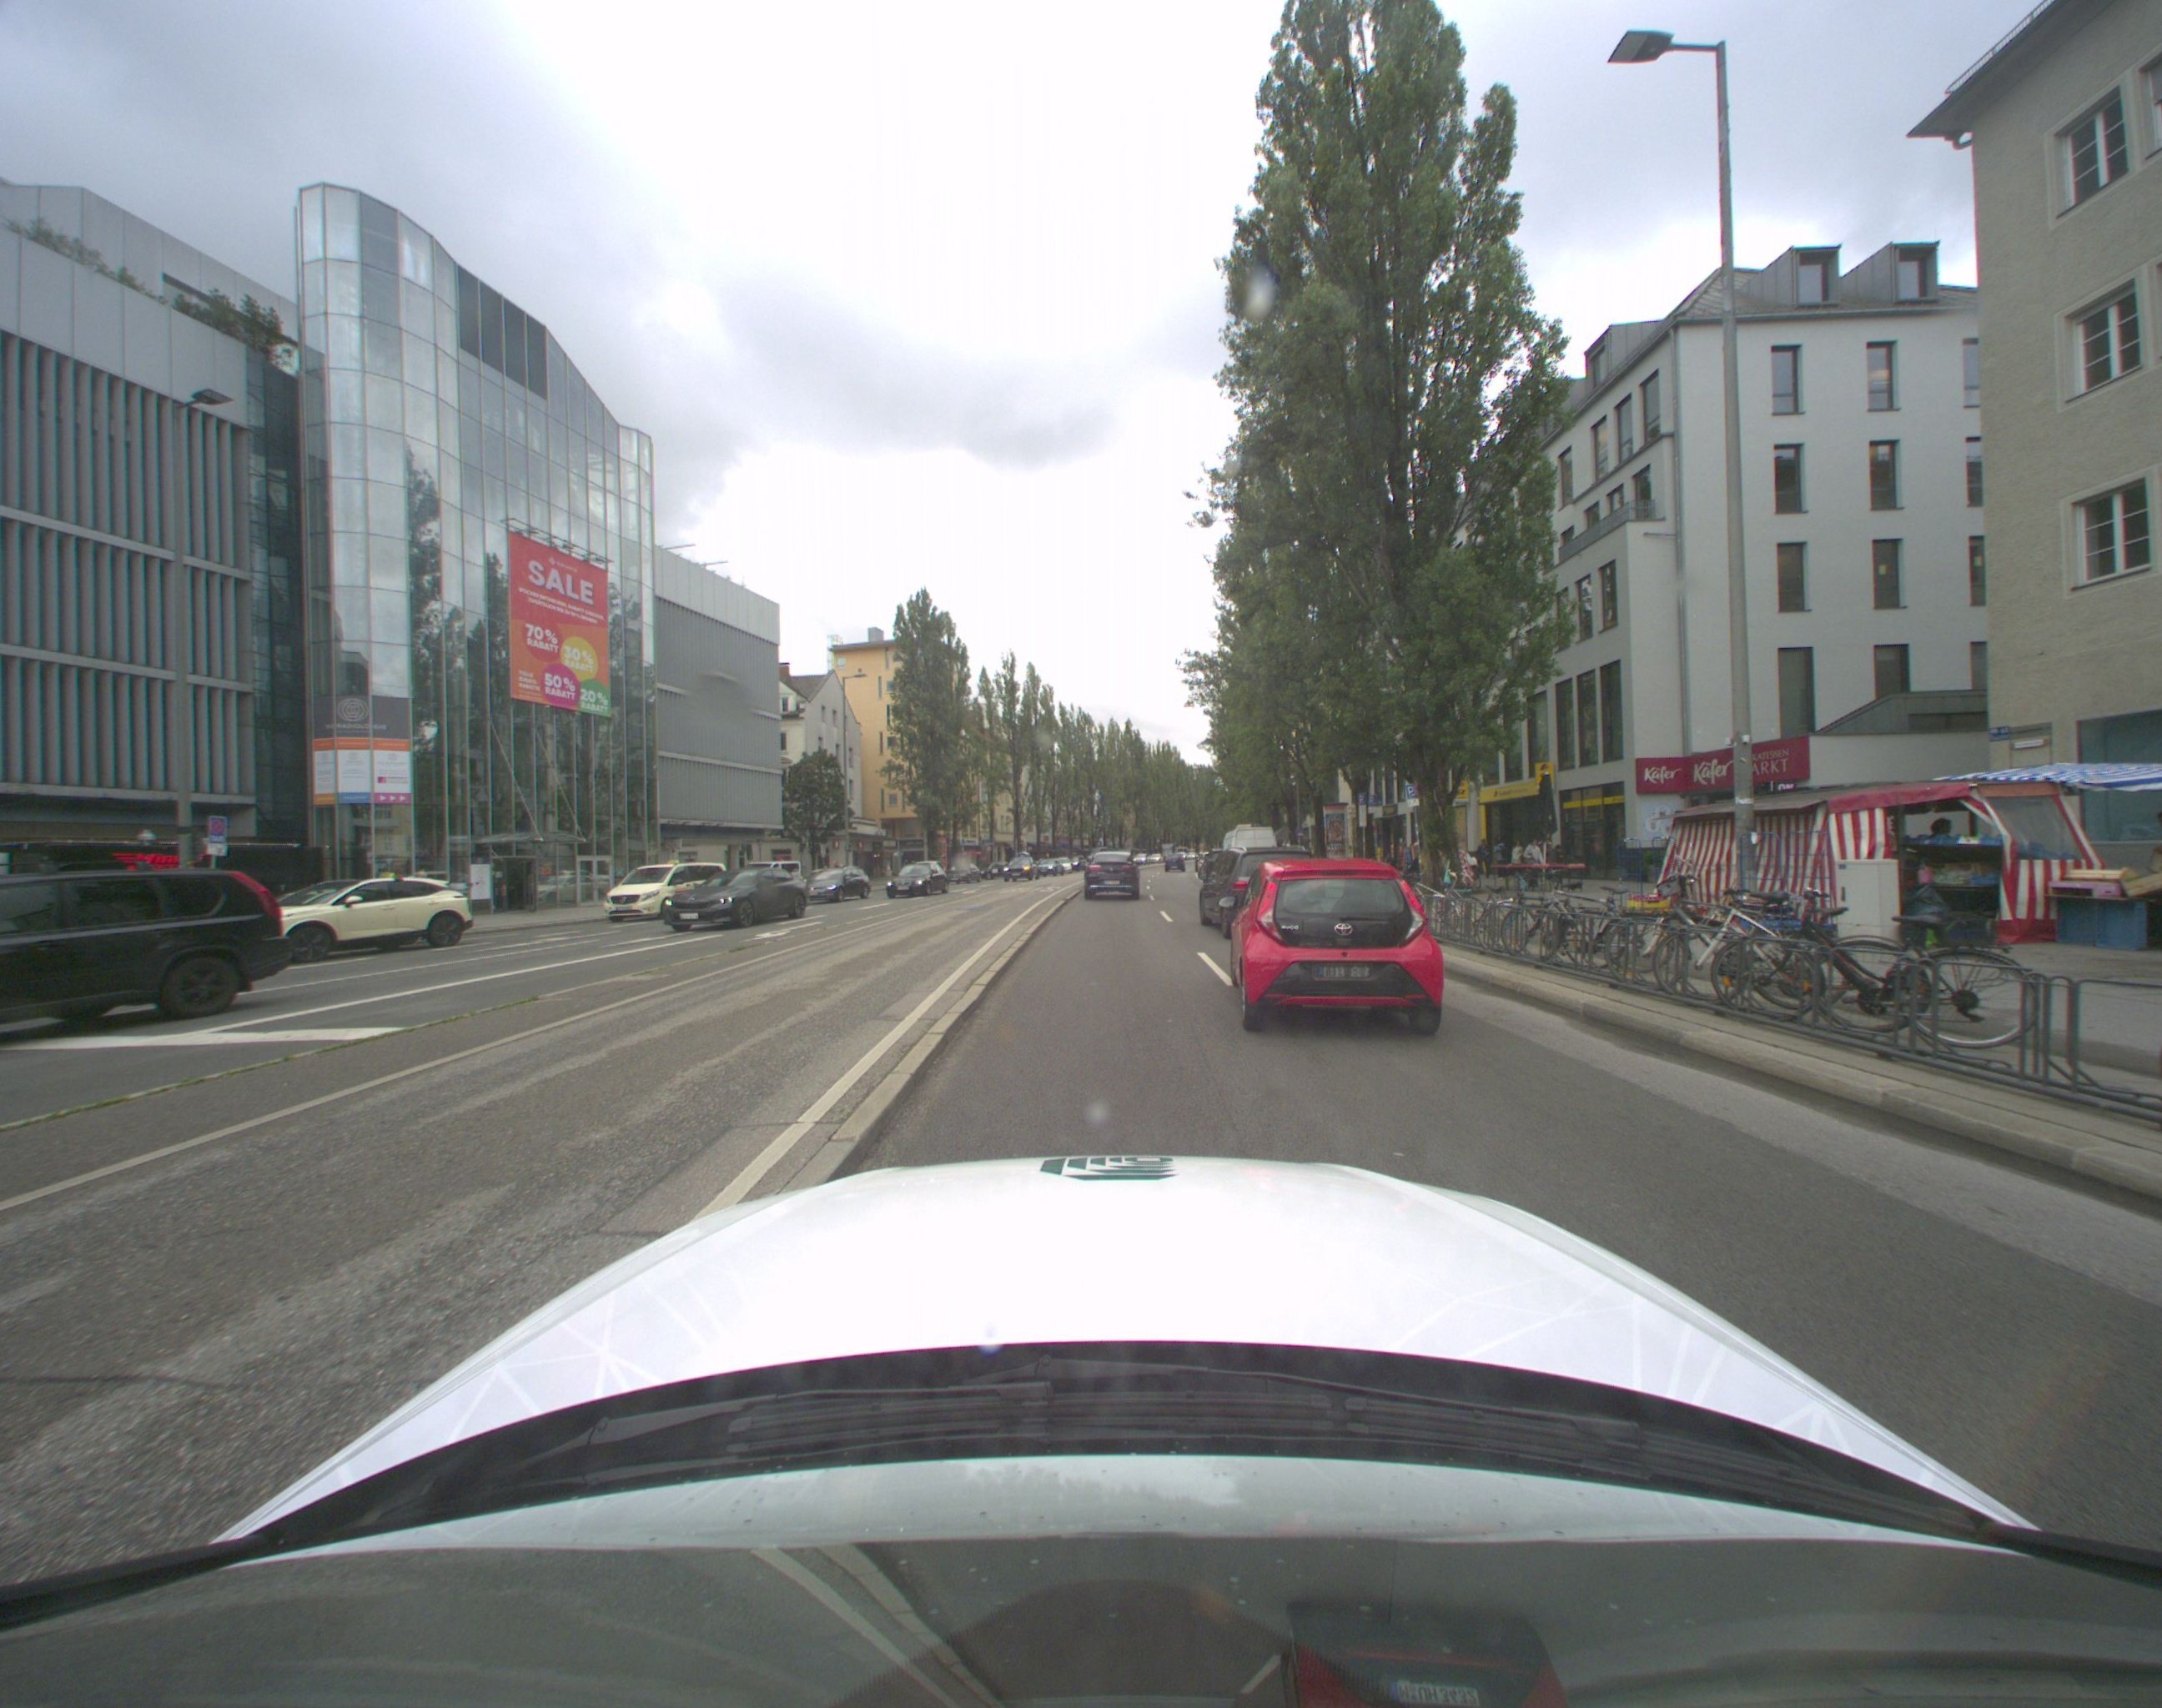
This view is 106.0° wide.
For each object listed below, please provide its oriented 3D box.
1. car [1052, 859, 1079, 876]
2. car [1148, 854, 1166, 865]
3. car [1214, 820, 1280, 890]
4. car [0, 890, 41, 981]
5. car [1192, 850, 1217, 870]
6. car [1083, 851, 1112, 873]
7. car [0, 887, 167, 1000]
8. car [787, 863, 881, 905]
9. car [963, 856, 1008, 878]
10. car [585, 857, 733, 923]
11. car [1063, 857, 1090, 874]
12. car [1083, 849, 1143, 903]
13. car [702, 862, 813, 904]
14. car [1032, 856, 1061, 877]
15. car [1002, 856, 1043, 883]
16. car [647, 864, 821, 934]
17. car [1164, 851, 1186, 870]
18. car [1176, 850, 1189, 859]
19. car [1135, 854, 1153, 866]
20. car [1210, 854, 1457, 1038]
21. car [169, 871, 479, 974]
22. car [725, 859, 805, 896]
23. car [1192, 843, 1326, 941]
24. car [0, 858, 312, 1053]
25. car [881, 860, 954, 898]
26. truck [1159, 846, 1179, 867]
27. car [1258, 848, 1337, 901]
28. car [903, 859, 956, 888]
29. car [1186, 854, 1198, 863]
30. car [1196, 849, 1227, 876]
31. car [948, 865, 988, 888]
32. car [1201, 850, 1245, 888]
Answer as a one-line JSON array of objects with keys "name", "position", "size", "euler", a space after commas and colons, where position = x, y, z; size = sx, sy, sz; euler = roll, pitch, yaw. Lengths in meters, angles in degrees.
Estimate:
[{"name": "car", "position": [-1.522, 1.325, 81.785], "size": [1.942, 1.589, 4.009], "euler": [-2, 0, 8]}, {"name": "car", "position": [11.749, 0.821, 125.936], "size": [1.980, 1.589, 5.212], "euler": [-4, 0, 12]}, {"name": "car", "position": [6.973, 0.064, 34.814], "size": [1.985, 2.741, 5.560], "euler": [0, -1, 4]}, {"name": "car", "position": [-19.597, 1.442, 12.546], "size": [1.741, 1.536, 4.011], "euler": [-2, 0, 10]}, {"name": "car", "position": [10.573, 0.512, 69.400], "size": [1.913, 1.700, 4.663], "euler": [-1, -1, 10]}, {"name": "car", "position": [2.067, 0.929, 100.589], "size": [2.155, 2.605, 6.086], "euler": [-2, 0, 13]}, {"name": "car", "position": [-16.769, 1.381, 11.440], "size": [1.933, 1.540, 4.863], "euler": [-2, 0, 11]}, {"name": "car", "position": [-10.413, 1.219, 34.801], "size": [1.949, 1.546, 4.957], "euler": [-3, 0, 7]}, {"name": "car", "position": [-7.895, 1.073, 67.661], "size": [1.740, 1.816, 4.023], "euler": [-1, -1, 26]}, {"name": "car", "position": [-14.550, 1.147, 28.551], "size": [1.984, 2.013, 5.328], "euler": [-3, 0, 5]}, {"name": "car", "position": [-0.463, 1.274, 89.622], "size": [2.005, 1.716, 4.997], "euler": [-2, 0, 11]}, {"name": "car", "position": [1.126, 0.712, 28.474], "size": [1.873, 1.642, 4.586], "euler": [-2, 0, 3]}, {"name": "car", "position": [-13.660, 1.170, 34.785], "size": [1.965, 1.552, 5.100], "euler": [-2, 0, 10]}, {"name": "car", "position": [-2.852, 1.054, 68.866], "size": [1.808, 1.545, 4.006], "euler": [-4, 0, 5]}, {"name": "car", "position": [-3.818, 0.970, 54.304], "size": [1.984, 1.621, 4.419], "euler": [-3, 0, 5]}, {"name": "car", "position": [-9.040, 1.108, 21.830], "size": [1.983, 1.507, 5.031], "euler": [-2, 0, 7]}, {"name": "car", "position": [8.200, 0.592, 70.895], "size": [1.749, 1.619, 3.755], "euler": [0, -1, 8]}, {"name": "car", "position": [19.261, 0.064, 154.037], "size": [1.847, 1.711, 4.554], "euler": [-3, 0, 14]}, {"name": "car", "position": [8.833, 0.808, 114.065], "size": [1.896, 1.603, 4.371], "euler": [-2, 0, 13]}, {"name": "car", "position": [2.285, 0.752, 8.277], "size": [1.657, 1.446, 3.601], "euler": [0, -1, 5]}, {"name": "car", "position": [-15.493, 1.305, 17.072], "size": [1.872, 1.698, 4.398], "euler": [-3, 0, 12]}, {"name": "car", "position": [-18.807, 1.348, 48.774], "size": [1.981, 2.013, 5.127], "euler": [-2, 0, 11]}, {"name": "car", "position": [3.262, 0.635, 15.704], "size": [1.754, 1.613, 4.185], "euler": [-1, 0, 2]}, {"name": "car", "position": [-10.929, 0.980, 8.004], "size": [1.982, 1.777, 4.609], "euler": [-2, 0, 8]}, {"name": "car", "position": [-7.209, 1.071, 36.401], "size": [1.827, 1.487, 4.742], "euler": [-2, 0, 6]}, {"name": "truck", "position": [14.999, 0.430, 138.436], "size": [2.274, 3.323, 7.185], "euler": [-3, 0, 14]}, {"name": "car", "position": [6.527, 0.570, 24.925], "size": [1.716, 1.454, 4.154], "euler": [0, 0, 6]}, {"name": "car", "position": [-9.017, 1.125, 48.929], "size": [1.984, 1.600, 4.296], "euler": [-2, 0, 5]}, {"name": "car", "position": [23.010, 0.870, 168.751], "size": [1.925, 1.642, 4.480], "euler": [-3, 0, 14]}, {"name": "car", "position": [8.455, 0.548, 53.068], "size": [1.718, 1.686, 4.415], "euler": [-1, 0, 6]}, {"name": "car", "position": [-7.787, 1.509, 56.487], "size": [1.721, 1.409, 4.693], "euler": [-2, 0, 4]}, {"name": "car", "position": [7.138, 0.738, 41.272], "size": [1.919, 1.805, 4.788], "euler": [0, 0, 6]}]
